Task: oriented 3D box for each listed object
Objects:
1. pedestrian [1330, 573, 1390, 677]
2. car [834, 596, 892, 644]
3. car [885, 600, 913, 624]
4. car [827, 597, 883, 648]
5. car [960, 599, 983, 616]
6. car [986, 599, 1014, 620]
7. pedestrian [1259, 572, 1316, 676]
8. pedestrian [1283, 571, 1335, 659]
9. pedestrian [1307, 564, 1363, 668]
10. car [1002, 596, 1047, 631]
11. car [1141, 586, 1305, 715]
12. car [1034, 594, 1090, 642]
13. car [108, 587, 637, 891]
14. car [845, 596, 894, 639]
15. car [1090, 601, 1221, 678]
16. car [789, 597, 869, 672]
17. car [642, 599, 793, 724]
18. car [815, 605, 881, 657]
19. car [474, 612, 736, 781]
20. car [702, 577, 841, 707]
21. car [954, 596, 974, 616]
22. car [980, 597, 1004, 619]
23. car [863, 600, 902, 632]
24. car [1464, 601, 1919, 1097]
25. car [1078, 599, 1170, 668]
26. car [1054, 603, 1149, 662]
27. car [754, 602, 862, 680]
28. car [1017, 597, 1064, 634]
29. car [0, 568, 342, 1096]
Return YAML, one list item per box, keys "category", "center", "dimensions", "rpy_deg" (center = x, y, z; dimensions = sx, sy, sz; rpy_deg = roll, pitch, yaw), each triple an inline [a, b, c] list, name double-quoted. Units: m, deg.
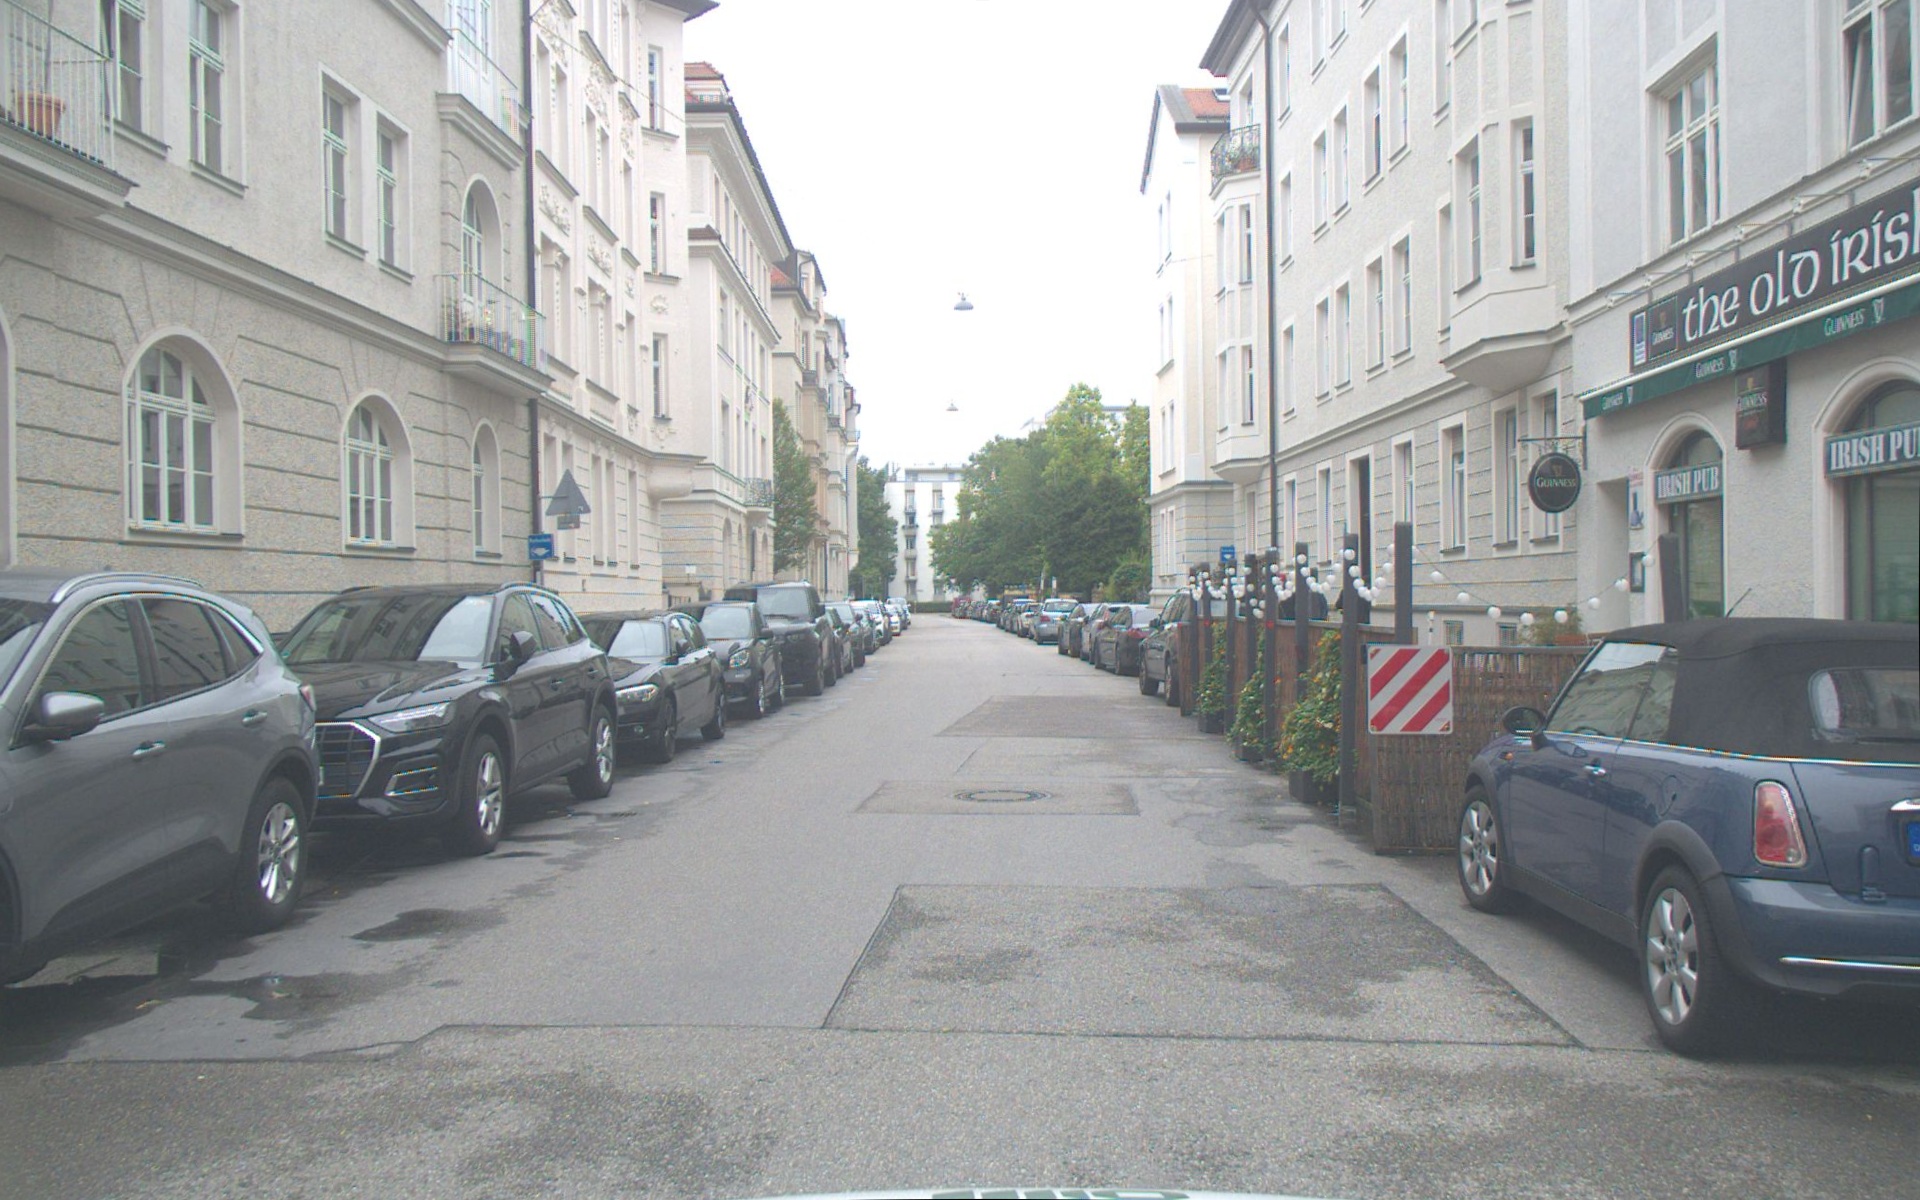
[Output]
- category: "pedestrian"
  center: [7.168, 0.430, 29.650]
  dimensions: [0.864, 1.818, 1.112]
  rpy_deg: [-1, 0, 5]
- category: "car"
  center: [-3.543, 0.709, 61.199]
  dimensions: [1.876, 1.647, 4.571]
  rpy_deg: [-1, 0, 0]
- category: "car"
  center: [-4.338, 0.839, 117.536]
  dimensions: [1.799, 1.463, 4.274]
  rpy_deg: [-4, 0, 0]
- category: "car"
  center: [-3.568, 0.739, 56.009]
  dimensions: [1.748, 1.568, 4.254]
  rpy_deg: [-3, 0, -4]
- category: "car"
  center: [1.026, 0.728, 153.918]
  dimensions: [1.802, 1.545, 3.944]
  rpy_deg: [0, -1, -5]
- category: "car"
  center: [2.770, 0.694, 115.336]
  dimensions: [1.801, 1.438, 4.341]
  rpy_deg: [0, -1, -1]
- category: "pedestrian"
  center: [5.942, 0.420, 30.081]
  dimensions: [0.864, 1.843, 1.111]
  rpy_deg: [-1, 0, 4]
- category: "pedestrian"
  center: [7.473, 0.314, 35.455]
  dimensions: [0.865, 1.845, 1.111]
  rpy_deg: [-1, 0, 0]
- category: "pedestrian"
  center: [7.550, 0.317, 33.352]
  dimensions: [0.865, 2.049, 1.111]
  rpy_deg: [-1, 0, 0]
- category: "car"
  center: [3.183, 0.632, 82.566]
  dimensions: [1.716, 1.639, 4.420]
  rpy_deg: [1, 0, -4]
- category: "car"
  center: [3.821, 0.670, 24.691]
  dimensions: [1.763, 1.704, 4.189]
  rpy_deg: [2, 0, 0]
- category: "car"
  center: [3.610, 0.609, 59.302]
  dimensions: [1.784, 1.596, 4.401]
  rpy_deg: [2, 0, 1]
- category: "car"
  center: [-3.631, 0.742, 11.202]
  dimensions: [1.837, 1.627, 4.435]
  rpy_deg: [-1, 0, 2]
- category: "car"
  center: [-3.620, 0.677, 66.596]
  dimensions: [1.799, 1.647, 4.243]
  rpy_deg: [-1, 0, -1]
- category: "car"
  center: [3.993, 0.768, 34.549]
  dimensions: [1.800, 1.423, 4.969]
  rpy_deg: [1, 0, -4]
- category: "car"
  center: [-3.115, 0.793, 39.973]
  dimensions: [1.692, 1.647, 4.119]
  rpy_deg: [-3, 0, -2]
- category: "car"
  center: [-3.293, 0.791, 23.011]
  dimensions: [1.583, 1.539, 3.531]
  rpy_deg: [-2, 0, -1]
- category: "car"
  center: [-3.437, 0.922, 51.315]
  dimensions: [1.756, 1.440, 4.277]
  rpy_deg: [-3, 0, -1]
- category: "car"
  center: [-3.480, 0.882, 16.971]
  dimensions: [1.620, 1.431, 4.093]
  rpy_deg: [-2, 0, 2]
- category: "car"
  center: [-3.084, 0.629, 27.961]
  dimensions: [1.799, 1.927, 4.762]
  rpy_deg: [-3, 0, -1]
- category: "car"
  center: [0.414, 0.576, 164.718]
  dimensions: [1.798, 1.960, 4.005]
  rpy_deg: [2, 0, 1]
- category: "car"
  center: [2.412, 0.612, 125.242]
  dimensions: [1.483, 1.690, 3.671]
  rpy_deg: [0, -1, -3]
- category: "car"
  center: [-3.819, 0.780, 81.963]
  dimensions: [1.800, 1.459, 4.242]
  rpy_deg: [-3, 0, -2]
- category: "car"
  center: [3.302, 0.752, 6.596]
  dimensions: [1.631, 1.424, 3.494]
  rpy_deg: [2, 0, 3]
- category: "car"
  center: [3.929, 0.763, 40.218]
  dimensions: [1.724, 1.511, 4.420]
  rpy_deg: [2, 0, 0]
- category: "car"
  center: [3.798, 0.837, 45.167]
  dimensions: [1.954, 1.483, 4.710]
  rpy_deg: [-1, 0, -3]
- category: "car"
  center: [-3.130, 0.812, 34.833]
  dimensions: [1.799, 1.418, 4.245]
  rpy_deg: [-3, 0, 0]
- category: "car"
  center: [3.371, 0.649, 70.244]
  dimensions: [1.748, 1.531, 4.064]
  rpy_deg: [0, 0, -1]
- category: "car"
  center: [-4.026, 0.757, 6.286]
  dimensions: [1.799, 1.707, 4.212]
  rpy_deg: [-1, 0, -1]
